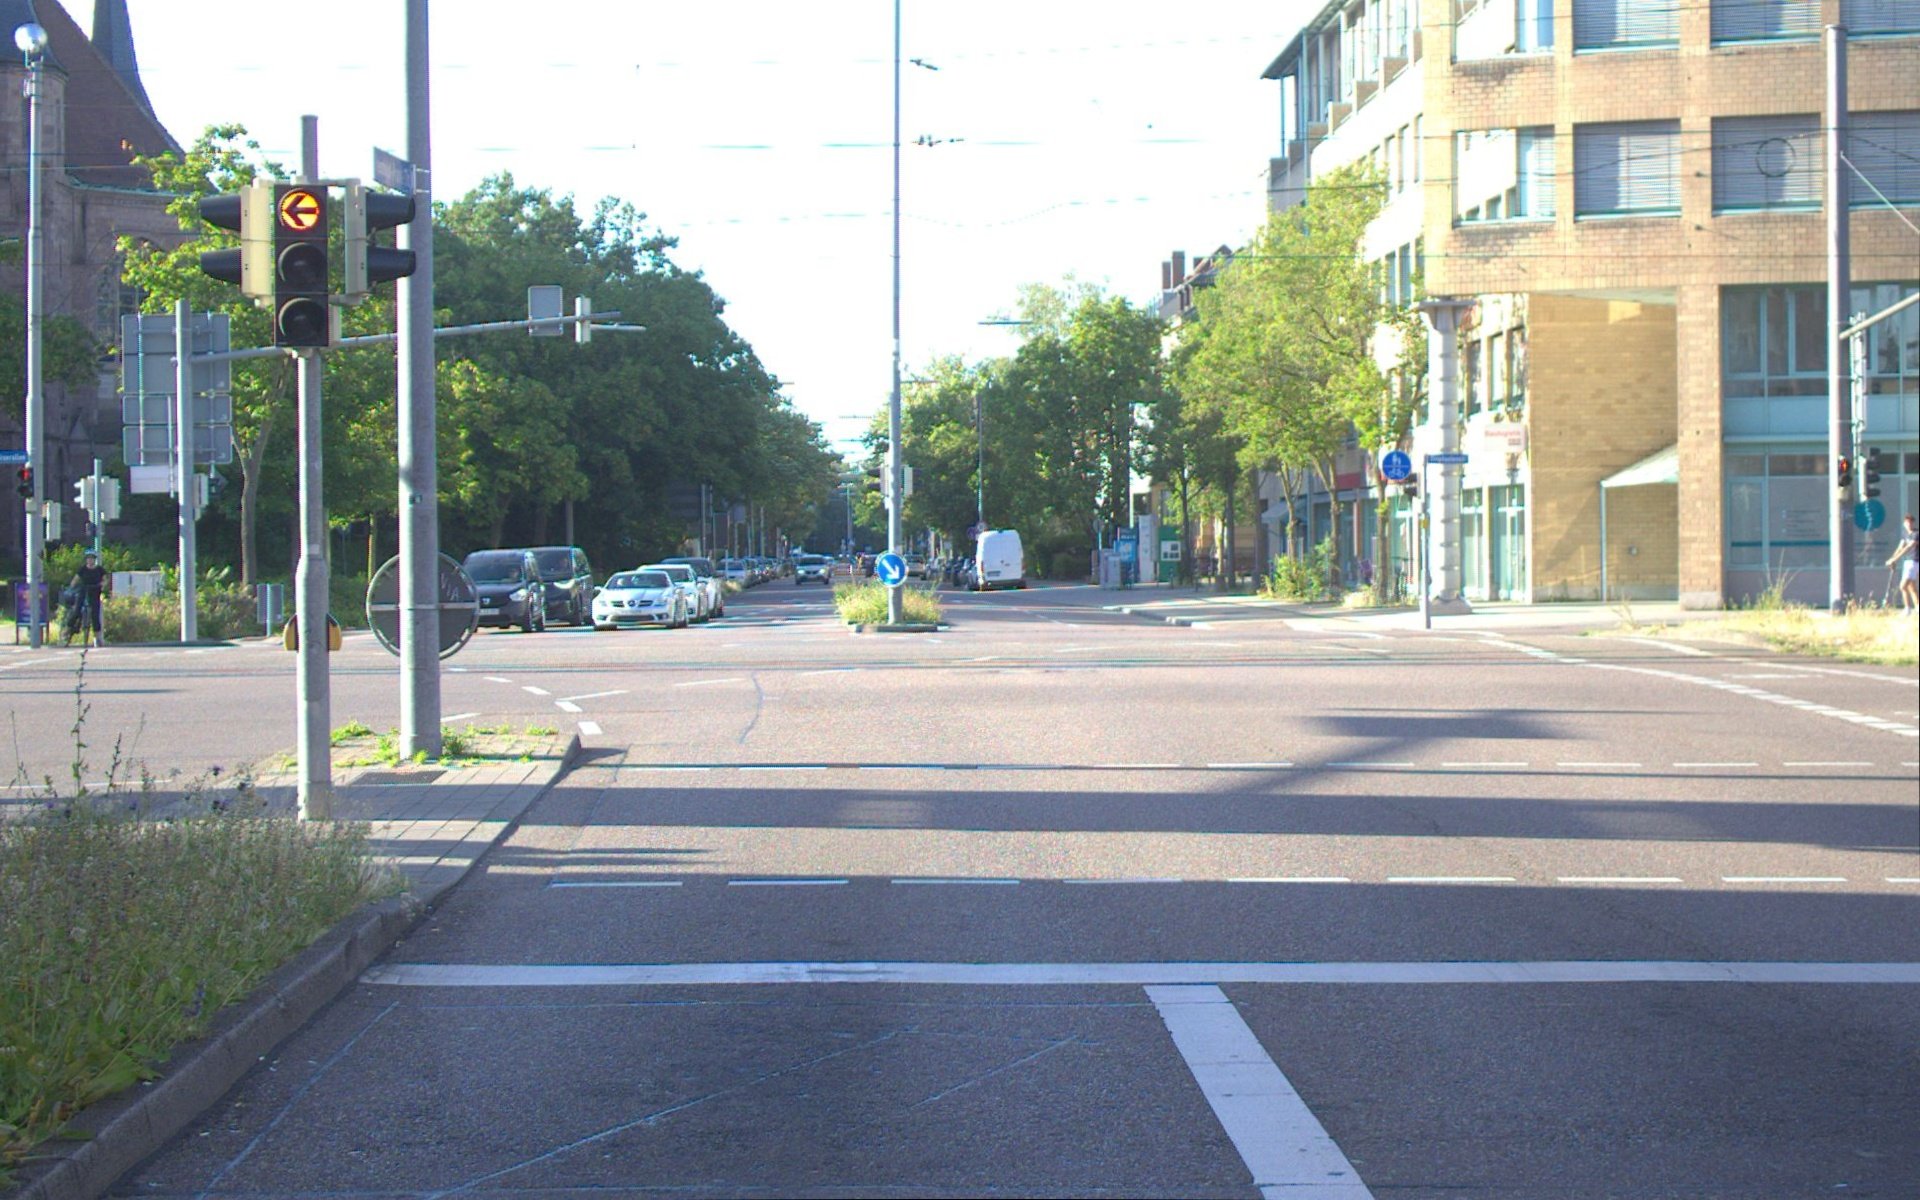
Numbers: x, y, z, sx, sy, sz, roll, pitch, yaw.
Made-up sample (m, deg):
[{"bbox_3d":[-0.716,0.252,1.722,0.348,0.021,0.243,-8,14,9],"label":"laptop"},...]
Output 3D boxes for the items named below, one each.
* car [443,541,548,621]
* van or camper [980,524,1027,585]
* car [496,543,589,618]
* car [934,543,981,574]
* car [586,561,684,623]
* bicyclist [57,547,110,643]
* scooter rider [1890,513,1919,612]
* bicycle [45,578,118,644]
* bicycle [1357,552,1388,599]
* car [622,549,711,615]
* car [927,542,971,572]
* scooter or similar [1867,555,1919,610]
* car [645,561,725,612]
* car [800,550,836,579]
[{"bbox_3d":[-9.950,-0.427,73.853,1.780,1.641,4.000,0,1,-1],"label":"car"},{"bbox_3d":[1.915,-2.042,153.239,1.993,2.631,5.350,0,1,0],"label":"van or camper"},{"bbox_3d":[-9.839,-0.480,81.257,1.780,1.698,4.000,0,1,-1],"label":"car"},{"bbox_3d":[-0.132,-2.171,178.443,1.993,1.587,4.001,-1,1,-7],"label":"car"},{"bbox_3d":[-6.902,-0.192,73.369,1.780,1.232,4.000,0,1,-1],"label":"car"},{"bbox_3d":[-15.596,-0.096,61.144,0.639,1.688,0.782,-1,1,-37],"label":"bicyclist"},{"bbox_3d":[17.344,-0.685,62.692,0.680,1.808,0.475,0,1,5],"label":"scooter rider"},{"bbox_3d":[-15.646,0.186,61.213,0.645,1.135,1.679,-1,1,-38],"label":"bicycle"},{"bbox_3d":[10.964,-0.660,91.368,0.773,1.191,2.464,0,1,6],"label":"bicycle"},{"bbox_3d":[-6.804,-0.440,79.944,1.780,1.459,4.000,0,1,-1],"label":"car"},{"bbox_3d":[-0.596,-2.323,184.104,1.993,1.587,4.001,-1,1,-5],"label":"car"},{"bbox_3d":[17.296,-0.325,62.704,1.401,0.998,0.475,0,1,6],"label":"scooter or similar"},{"bbox_3d":[-6.971,-0.359,87.467,1.780,1.232,4.000,0,1,-1],"label":"car"},{"bbox_3d":[-7.549,-1.903,183.110,1.780,1.444,4.000,0,1,-1],"label":"car"}]
